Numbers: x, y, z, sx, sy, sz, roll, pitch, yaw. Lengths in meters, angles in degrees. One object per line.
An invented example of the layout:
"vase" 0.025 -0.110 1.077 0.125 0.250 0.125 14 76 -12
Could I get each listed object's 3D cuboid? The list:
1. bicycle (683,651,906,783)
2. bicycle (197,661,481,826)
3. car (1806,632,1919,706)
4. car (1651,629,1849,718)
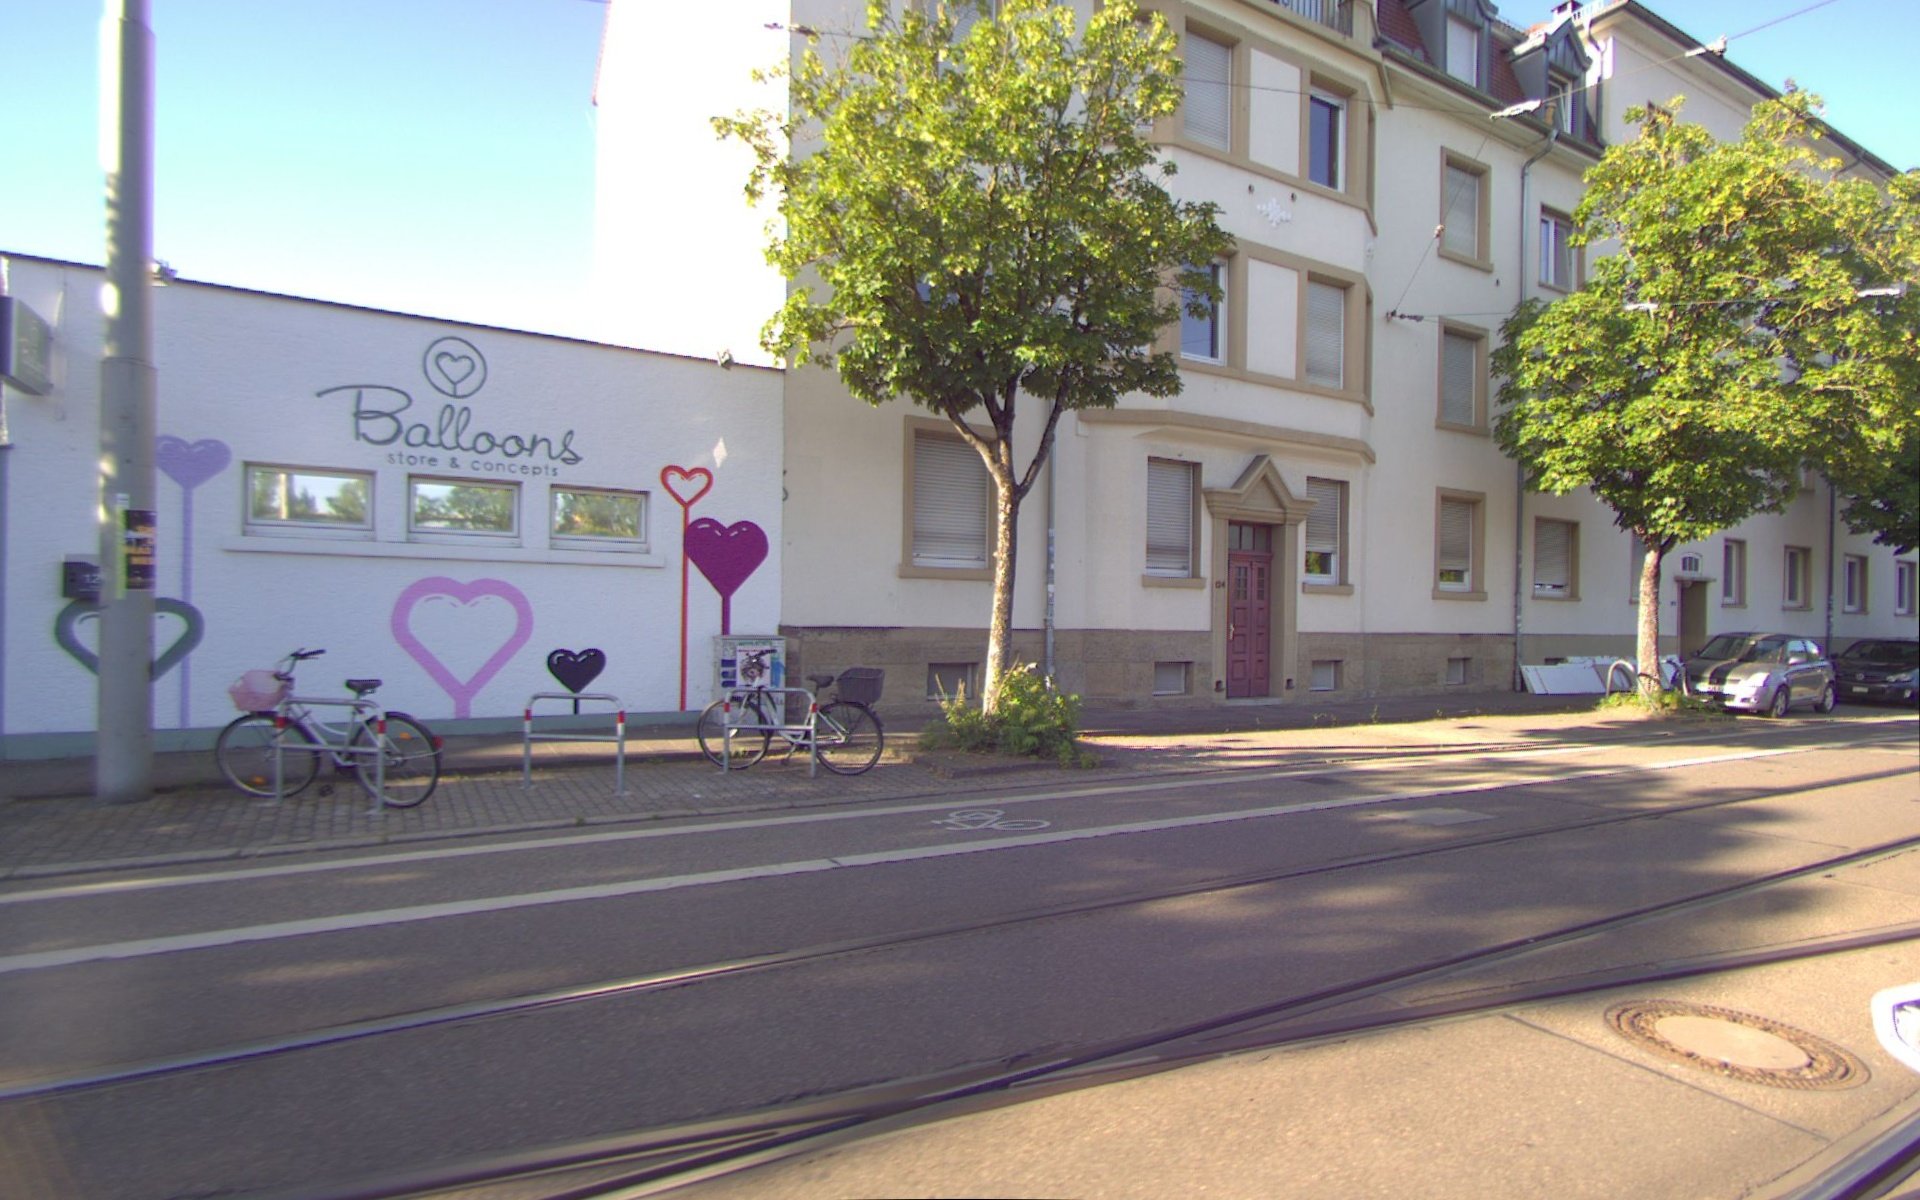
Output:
"bicycle" -1.526 1.050 9.267 1.947 1.054 0.532 2 0 14
"bicycle" -4.600 1.033 7.493 1.750 1.054 0.670 2 0 7
"car" 20.718 1.495 22.306 4.140 1.444 1.643 2 0 -30
"car" 15.229 1.361 19.332 3.953 1.511 1.643 2 0 -30
